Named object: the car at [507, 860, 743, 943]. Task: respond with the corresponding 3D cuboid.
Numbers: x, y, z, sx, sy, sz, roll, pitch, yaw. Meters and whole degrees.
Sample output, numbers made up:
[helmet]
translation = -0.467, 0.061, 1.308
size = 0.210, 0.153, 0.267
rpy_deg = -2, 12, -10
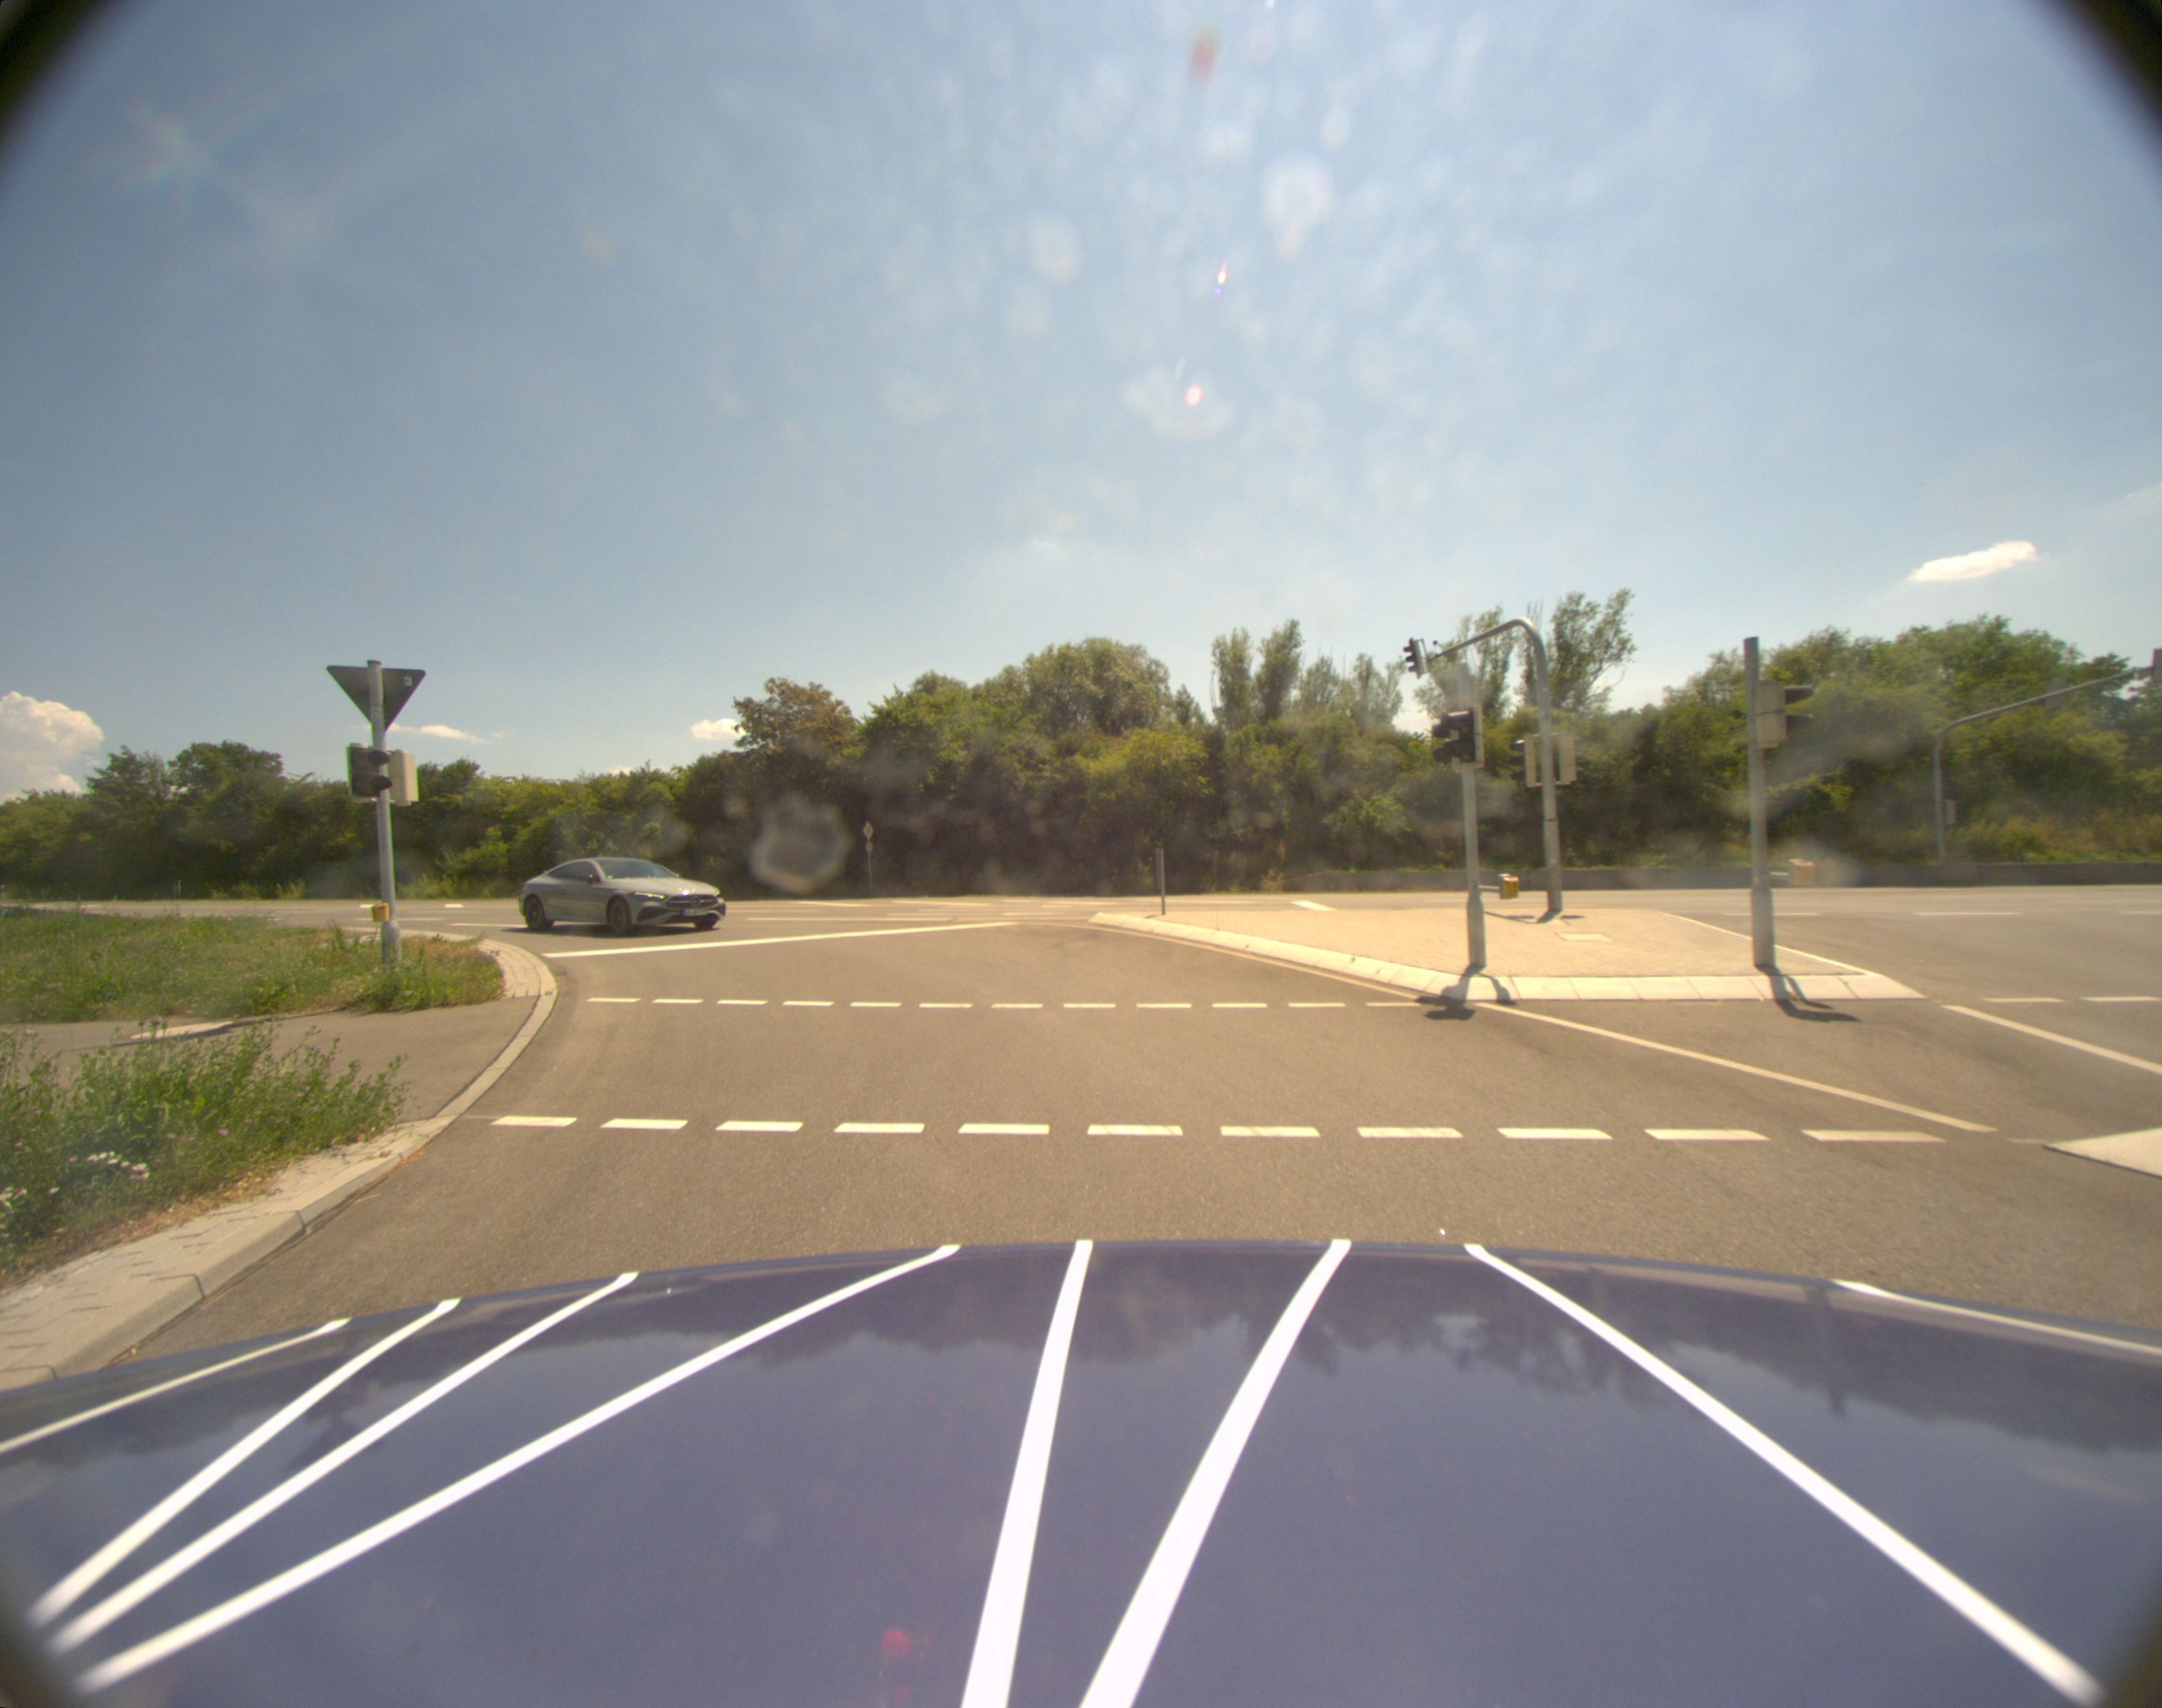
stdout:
[car]
translation = -8.992, 0.859, 14.924
size = 4.470, 1.433, 1.927
rpy_deg = -1, -1, 28
